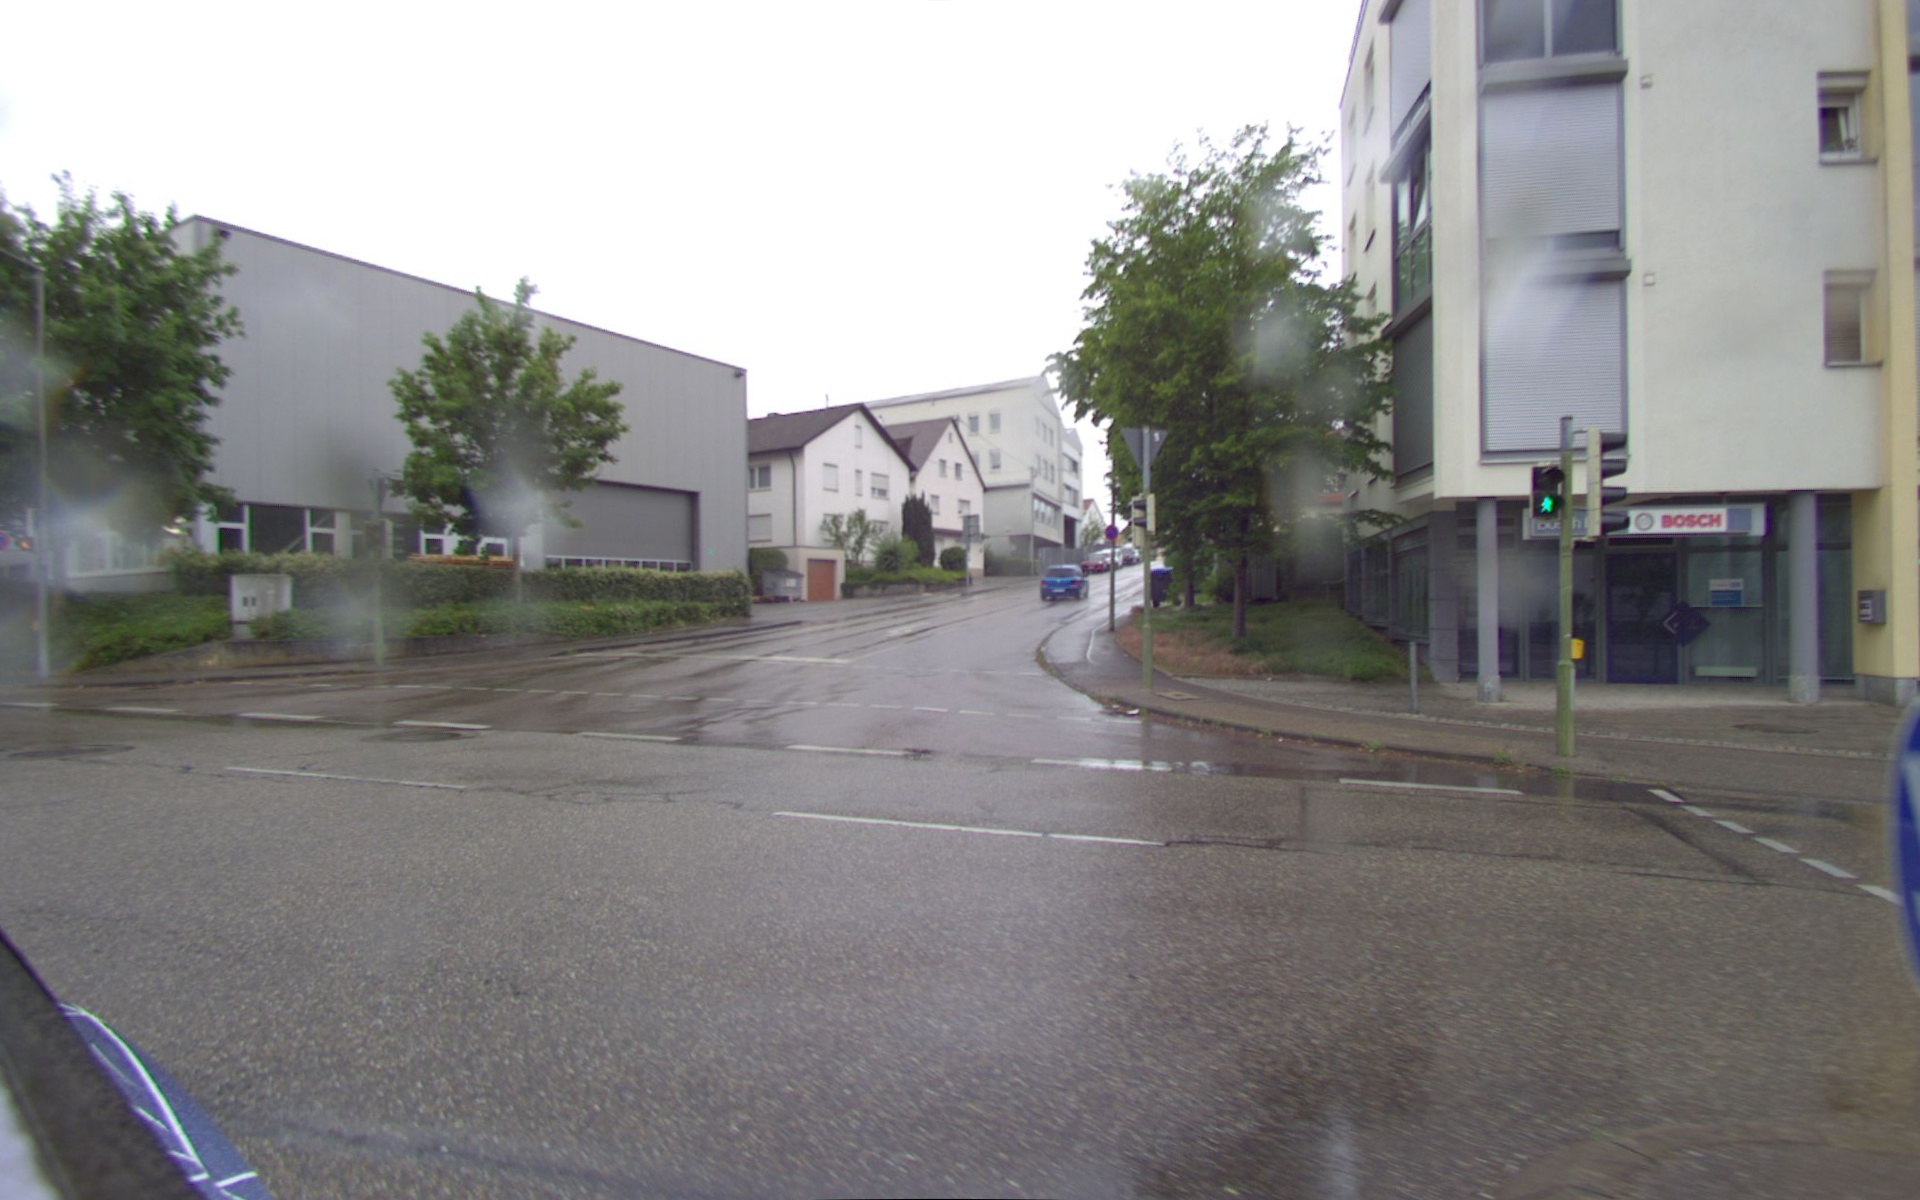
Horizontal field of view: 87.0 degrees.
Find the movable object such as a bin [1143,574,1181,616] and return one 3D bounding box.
[{"bbox_3d":[6.906,-0.178,34.550,1.048,1.306,1.195,-5,0,16],"label":"movable object such as a bin"}]

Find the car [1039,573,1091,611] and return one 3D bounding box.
[{"bbox_3d":[4.633,-0.393,44.162,1.756,1.456,3.984,0,3,14],"label":"car"}]

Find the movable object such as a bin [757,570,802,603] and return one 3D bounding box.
[{"bbox_3d":[-8.588,-0.651,48.242,1.444,1.547,1.572,1,1,32],"label":"movable object such as a bin"}]

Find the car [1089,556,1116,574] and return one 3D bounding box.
[{"bbox_3d":[12.802,-3.165,90.855,1.834,1.534,3.978,0,2,17],"label":"car"}]

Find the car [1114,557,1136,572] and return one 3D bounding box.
[{"bbox_3d":[17.789,-3.835,108.994,1.834,1.534,3.978,0,2,17],"label":"car"}]

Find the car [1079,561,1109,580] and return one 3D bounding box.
[{"bbox_3d":[11.389,-2.536,85.925,1.834,1.534,3.978,0,2,17],"label":"car"}]

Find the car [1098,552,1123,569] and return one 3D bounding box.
[{"bbox_3d":[14.314,-3.763,96.168,1.834,1.534,3.978,0,2,17],"label":"car"}]
